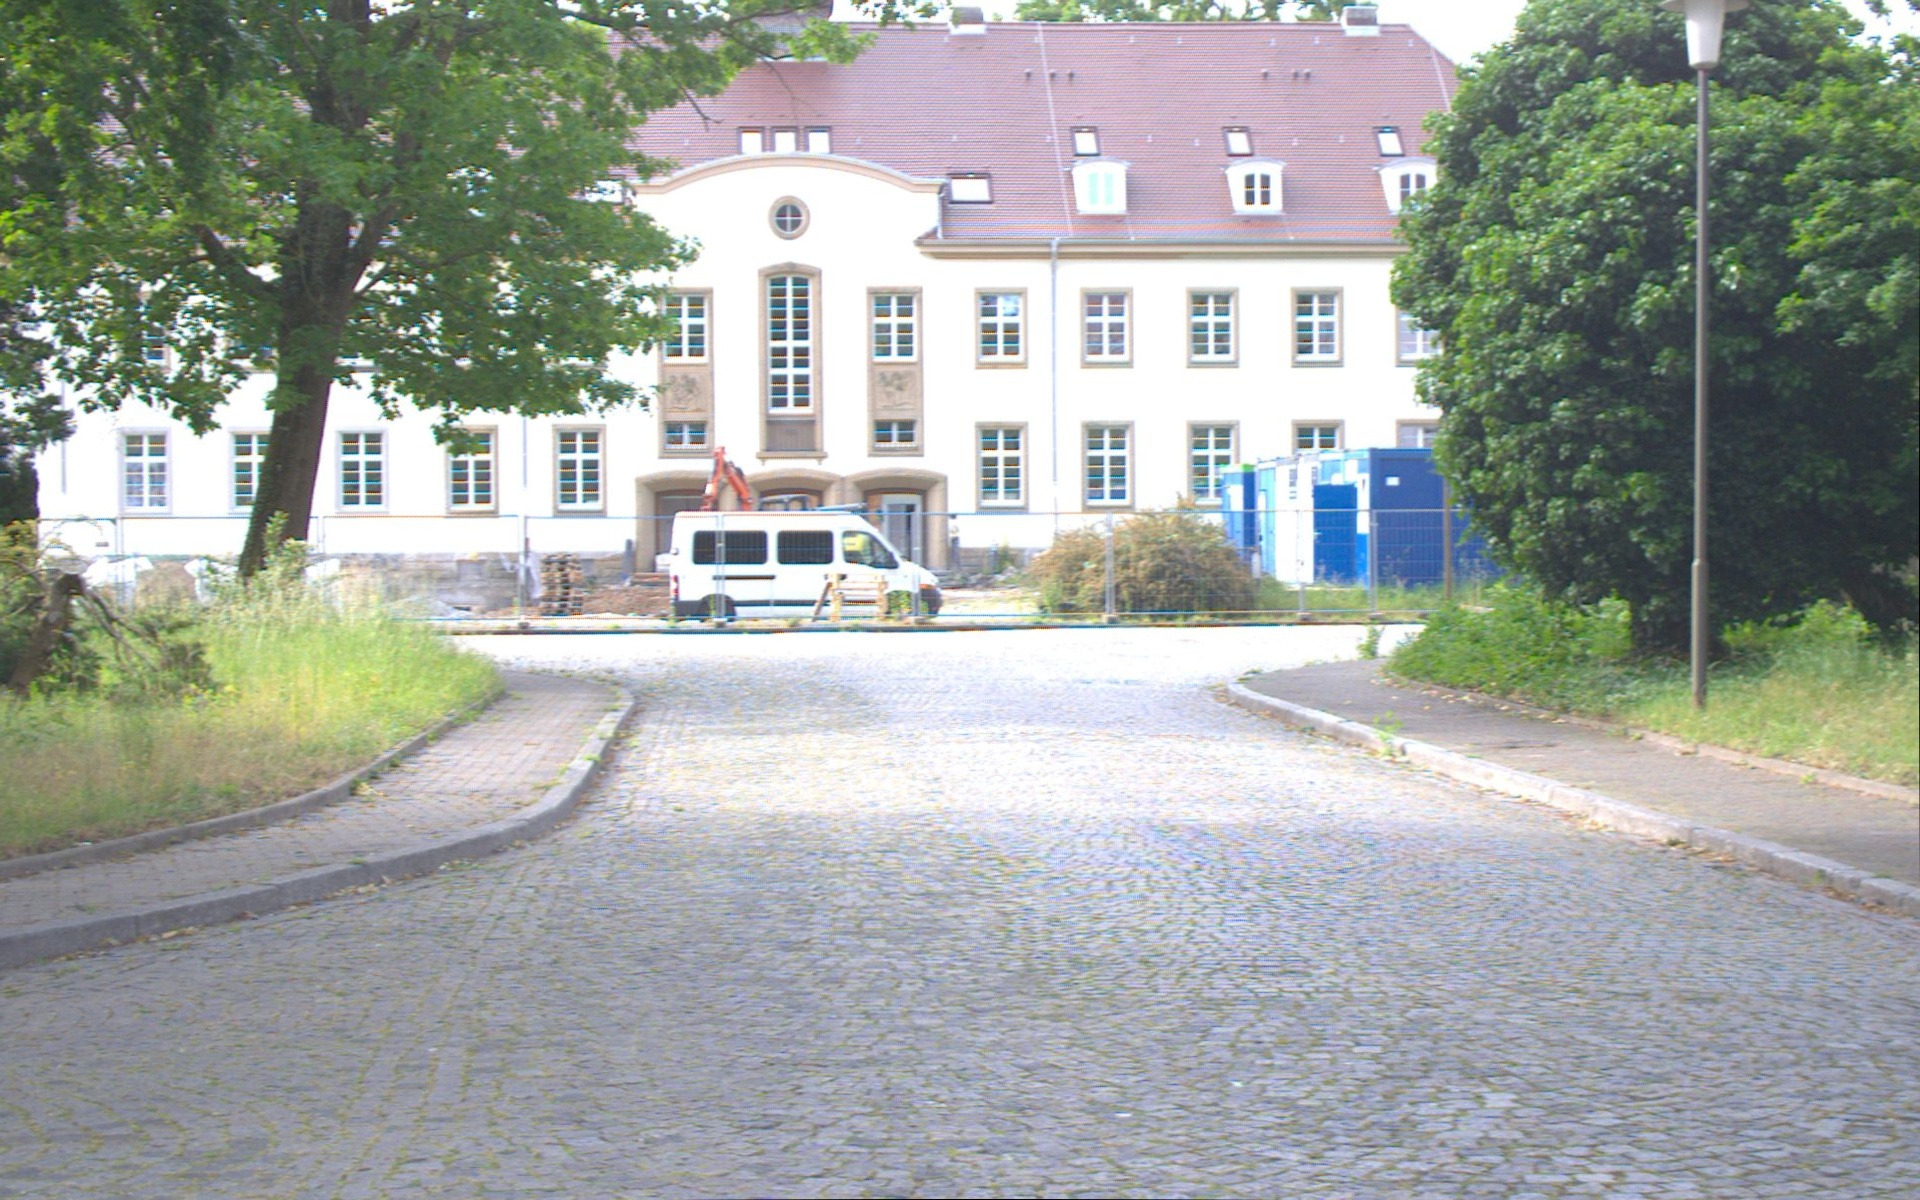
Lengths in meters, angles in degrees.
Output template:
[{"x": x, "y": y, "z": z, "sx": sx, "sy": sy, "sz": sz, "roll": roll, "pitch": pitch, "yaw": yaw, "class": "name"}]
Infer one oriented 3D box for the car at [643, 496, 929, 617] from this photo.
[{"x": -3.431, "y": -0.869, "z": 67.573, "sx": 5.513, "sy": 2.199, "sz": 2.127, "roll": 0, "pitch": 4, "yaw": -4, "class": "car"}]
